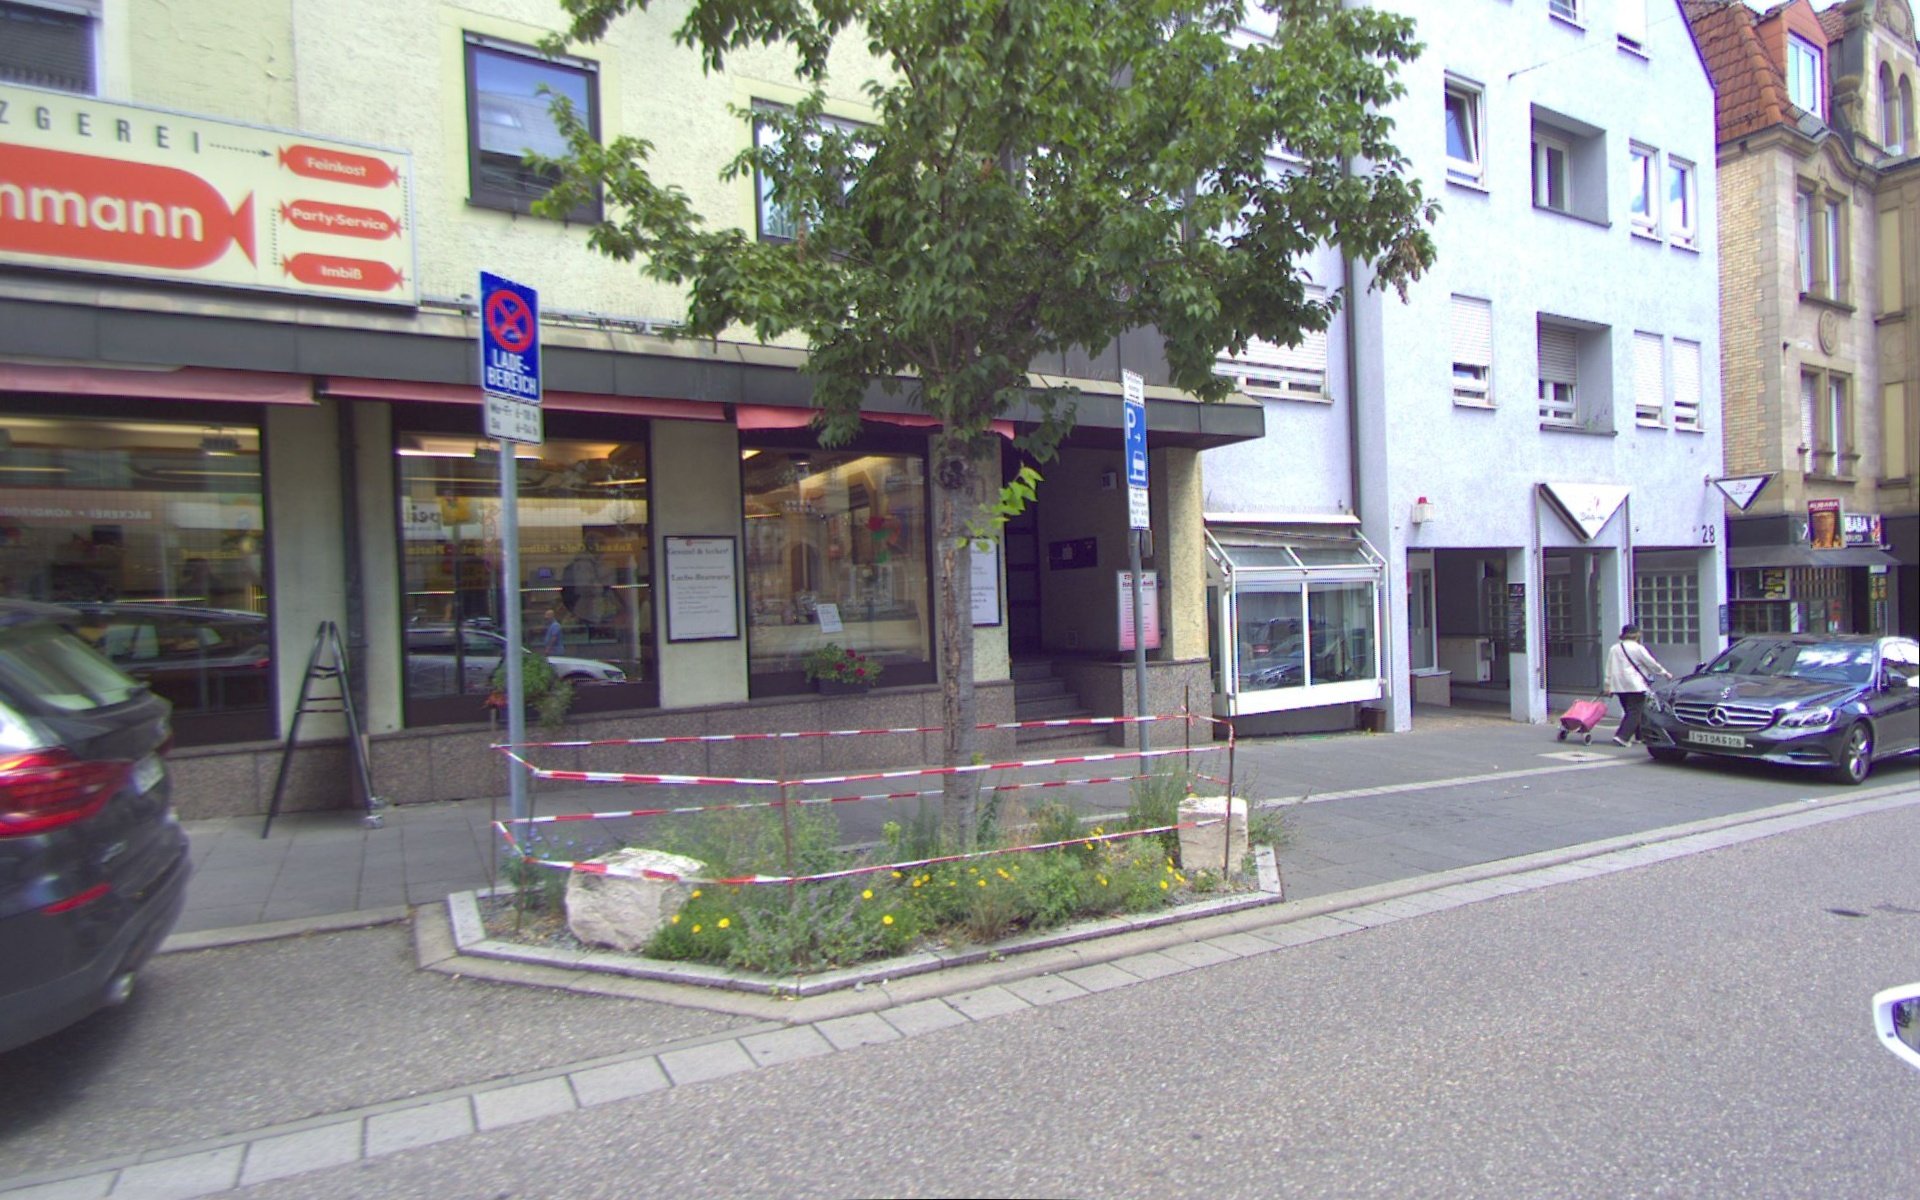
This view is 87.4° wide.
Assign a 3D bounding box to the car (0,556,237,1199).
[{"bbox_3d":[-4.730,0.715,2.516,4.554,1.716,1.996,1,0,-31],"label":"car"}]

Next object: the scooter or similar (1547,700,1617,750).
[{"bbox_3d":[7.697,1.542,12.439,0.566,0.526,0.522,2,1,-31],"label":"scooter or similar"}]

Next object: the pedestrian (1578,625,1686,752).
[{"bbox_3d":[8.426,1.082,12.613,0.801,1.483,0.821,2,1,-31],"label":"pedestrian"}]

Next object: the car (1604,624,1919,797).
[{"bbox_3d":[9.568,1.091,11.393,4.788,1.512,1.916,1,1,-32],"label":"car"}]
